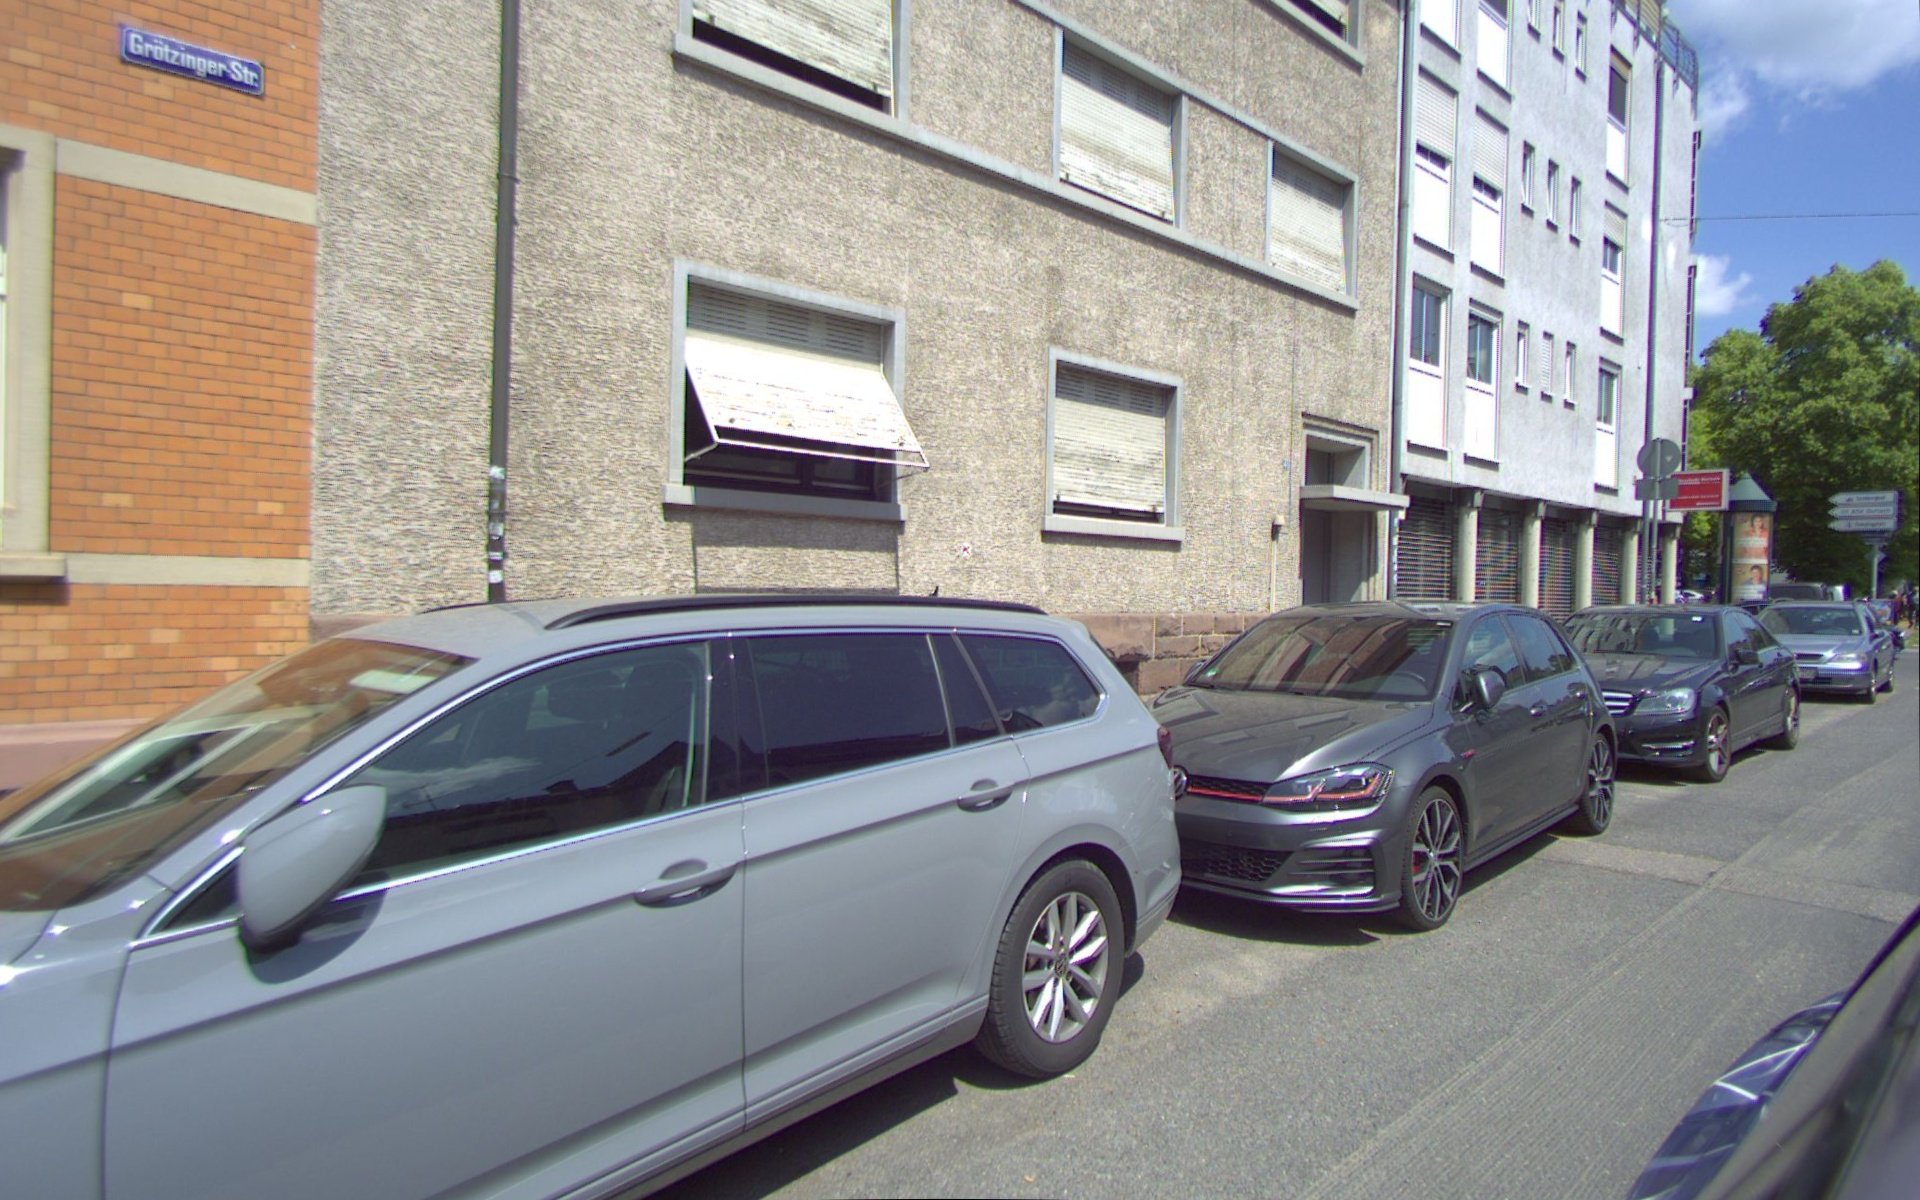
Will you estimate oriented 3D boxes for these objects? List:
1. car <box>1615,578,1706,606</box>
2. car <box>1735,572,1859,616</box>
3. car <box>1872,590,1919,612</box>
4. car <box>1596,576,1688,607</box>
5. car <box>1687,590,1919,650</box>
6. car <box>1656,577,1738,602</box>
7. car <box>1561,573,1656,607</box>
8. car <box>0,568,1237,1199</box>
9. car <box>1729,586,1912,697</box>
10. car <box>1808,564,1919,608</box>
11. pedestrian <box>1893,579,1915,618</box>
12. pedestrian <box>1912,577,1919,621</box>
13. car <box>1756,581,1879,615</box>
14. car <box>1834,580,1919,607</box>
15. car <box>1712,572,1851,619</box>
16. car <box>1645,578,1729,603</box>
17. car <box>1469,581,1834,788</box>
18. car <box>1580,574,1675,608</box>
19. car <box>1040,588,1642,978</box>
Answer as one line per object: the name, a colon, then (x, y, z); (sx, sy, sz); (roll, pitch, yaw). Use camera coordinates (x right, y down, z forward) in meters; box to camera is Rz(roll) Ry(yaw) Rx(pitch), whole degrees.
car: (40.623, -0.489, 58.755); (1.772, 1.491, 3.997); (-1, 3, -39)
car: (34.200, -0.282, 41.415); (3.765, 1.688, 1.637); (2, 2, 45)
car: (62.746, 0.061, 66.748); (3.832, 1.375, 1.606); (0, 1, 41)
car: (38.710, -0.518, 57.491); (1.772, 1.606, 3.997); (-1, 3, -39)
car: (21.738, 0.443, 26.108); (1.966, 1.382, 4.587); (-1, 1, -42)
car: (48.074, -0.693, 66.083); (1.772, 1.491, 3.997); (-1, 3, -39)
car: (34.654, -0.560, 54.177); (1.653, 1.661, 3.992); (-1, 3, -43)
car: (-1.164, 0.669, 2.795); (1.853, 1.481, 4.480); (0, 1, 43)
car: (13.273, 0.534, 15.533); (4.073, 1.473, 1.679); (-1, 0, -43)
car: (49.924, -0.742, 55.786); (2.069, 2.305, 4.610); (0, 0, -40)
pedestrian: (39.466, -0.076, 42.315); (0.724, 1.613, 0.618); (-1, 1, -42)
pedestrian: (39.856, -0.047, 41.874); (0.724, 1.786, 0.618); (-1, 1, -42)
car: (37.831, -0.122, 44.710); (1.777, 1.415, 3.992); (-1, 1, -42)
car: (52.944, -0.365, 57.872); (1.778, 1.513, 4.330); (-1, 0, -42)
car: (32.215, -0.204, 39.745); (1.982, 1.772, 3.993); (-1, 1, -41)
car: (45.978, -0.629, 64.077); (1.772, 1.491, 3.997); (-1, 3, -39)
car: (6.594, 0.585, 9.451); (4.360, 1.491, 1.715); (-1, 2, -40)
car: (36.697, -0.531, 55.681); (1.772, 1.682, 3.997); (-1, 3, -39)
car: (2.403, 0.664, 5.783); (3.981, 1.438, 1.653); (-1, 2, -43)
